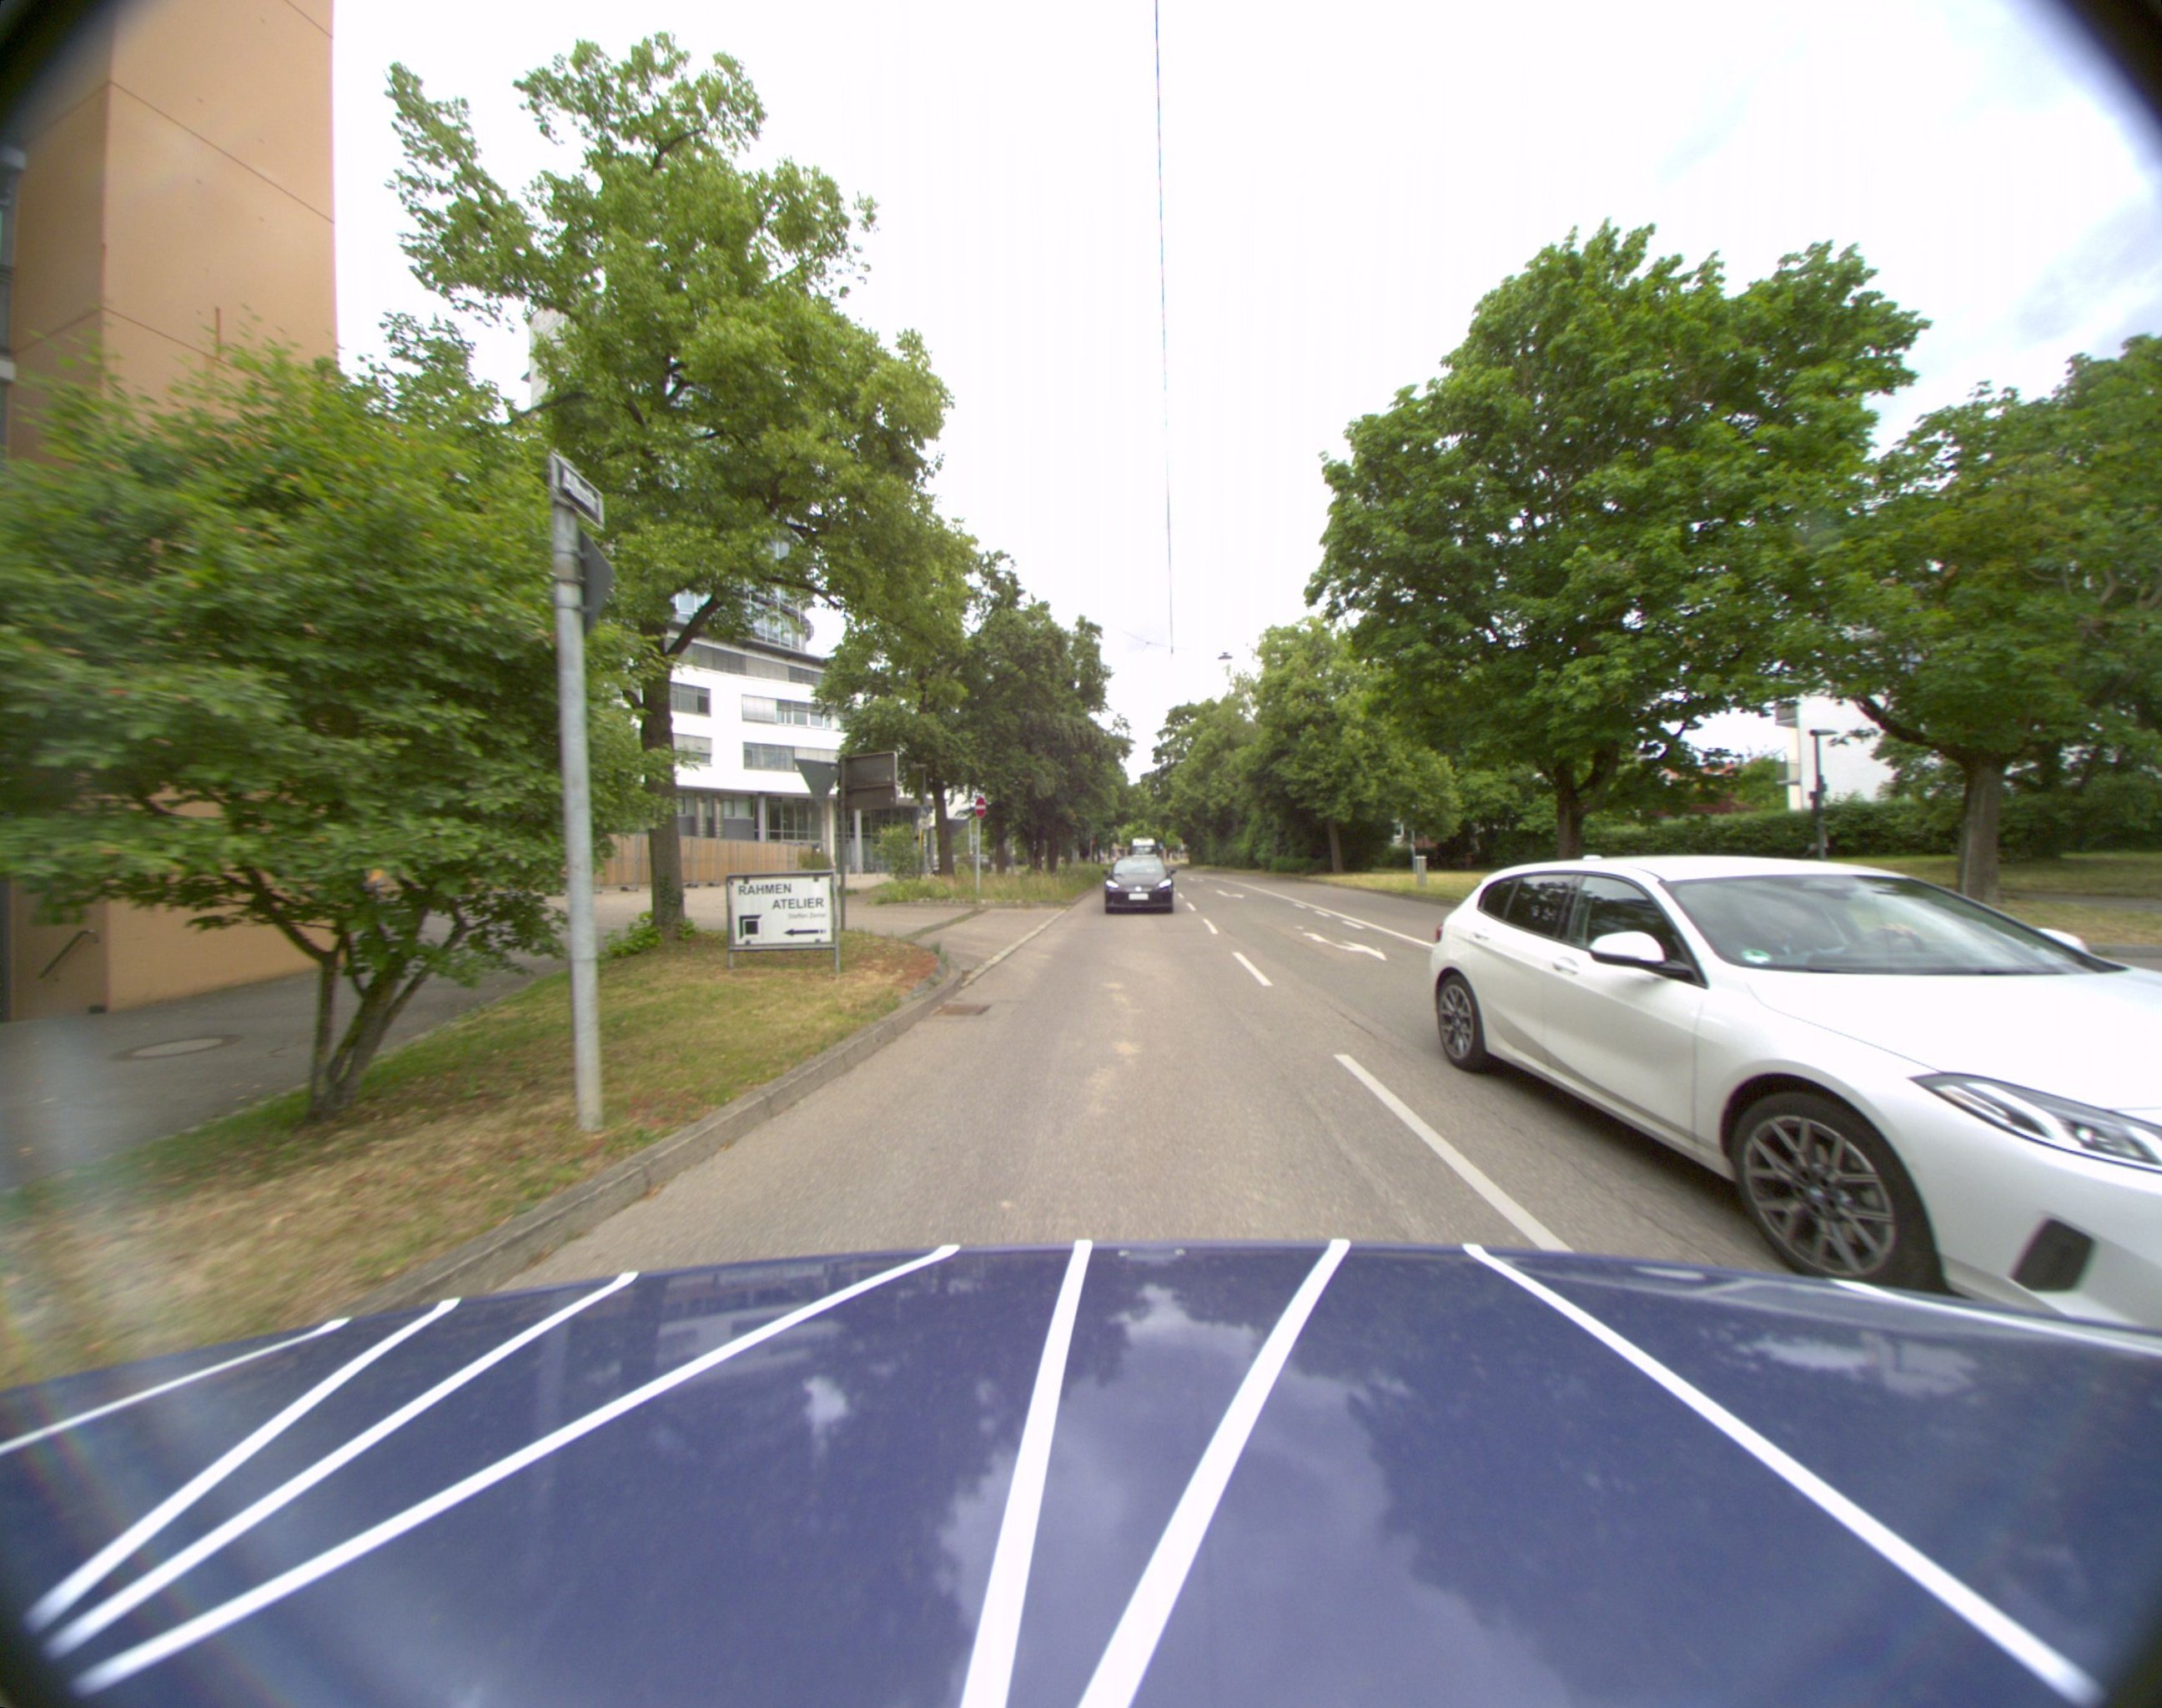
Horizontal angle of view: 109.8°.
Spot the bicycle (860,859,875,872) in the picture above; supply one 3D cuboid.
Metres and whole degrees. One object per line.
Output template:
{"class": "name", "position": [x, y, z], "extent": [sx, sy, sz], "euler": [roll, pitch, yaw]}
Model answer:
{"class": "bicycle", "position": [-18.416, 1.024, 65.446], "extent": [1.397, 1.066, 0.393], "euler": [-2, 1, 34]}

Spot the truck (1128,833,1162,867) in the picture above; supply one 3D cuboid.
{"class": "truck", "position": [6.270, -0.382, 75.821], "extent": [2.436, 3.176, 6.464], "euler": [-1, 0, -3]}

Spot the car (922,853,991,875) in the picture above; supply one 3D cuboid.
{"class": "car", "position": [-9.183, 0.706, 56.245], "extent": [4.752, 1.508, 1.866], "euler": [-1, 1, -40]}

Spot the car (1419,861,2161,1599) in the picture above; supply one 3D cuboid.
{"class": "car", "position": [3.353, 0.846, 3.588], "extent": [1.800, 1.508, 4.207], "euler": [-1, 0, 3]}

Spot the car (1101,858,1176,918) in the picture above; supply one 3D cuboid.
{"class": "car", "position": [1.513, 0.862, 21.139], "extent": [1.800, 1.475, 4.019], "euler": [0, 0, 0]}

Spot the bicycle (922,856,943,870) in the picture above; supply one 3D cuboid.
{"class": "bicycle", "position": [-13.443, 0.816, 68.836], "extent": [1.739, 1.141, 0.490], "euler": [-3, 1, -11]}

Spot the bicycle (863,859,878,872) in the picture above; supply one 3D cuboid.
{"class": "bicycle", "position": [-18.262, 1.018, 66.002], "extent": [1.397, 1.066, 0.393], "euler": [-2, 1, 34]}
